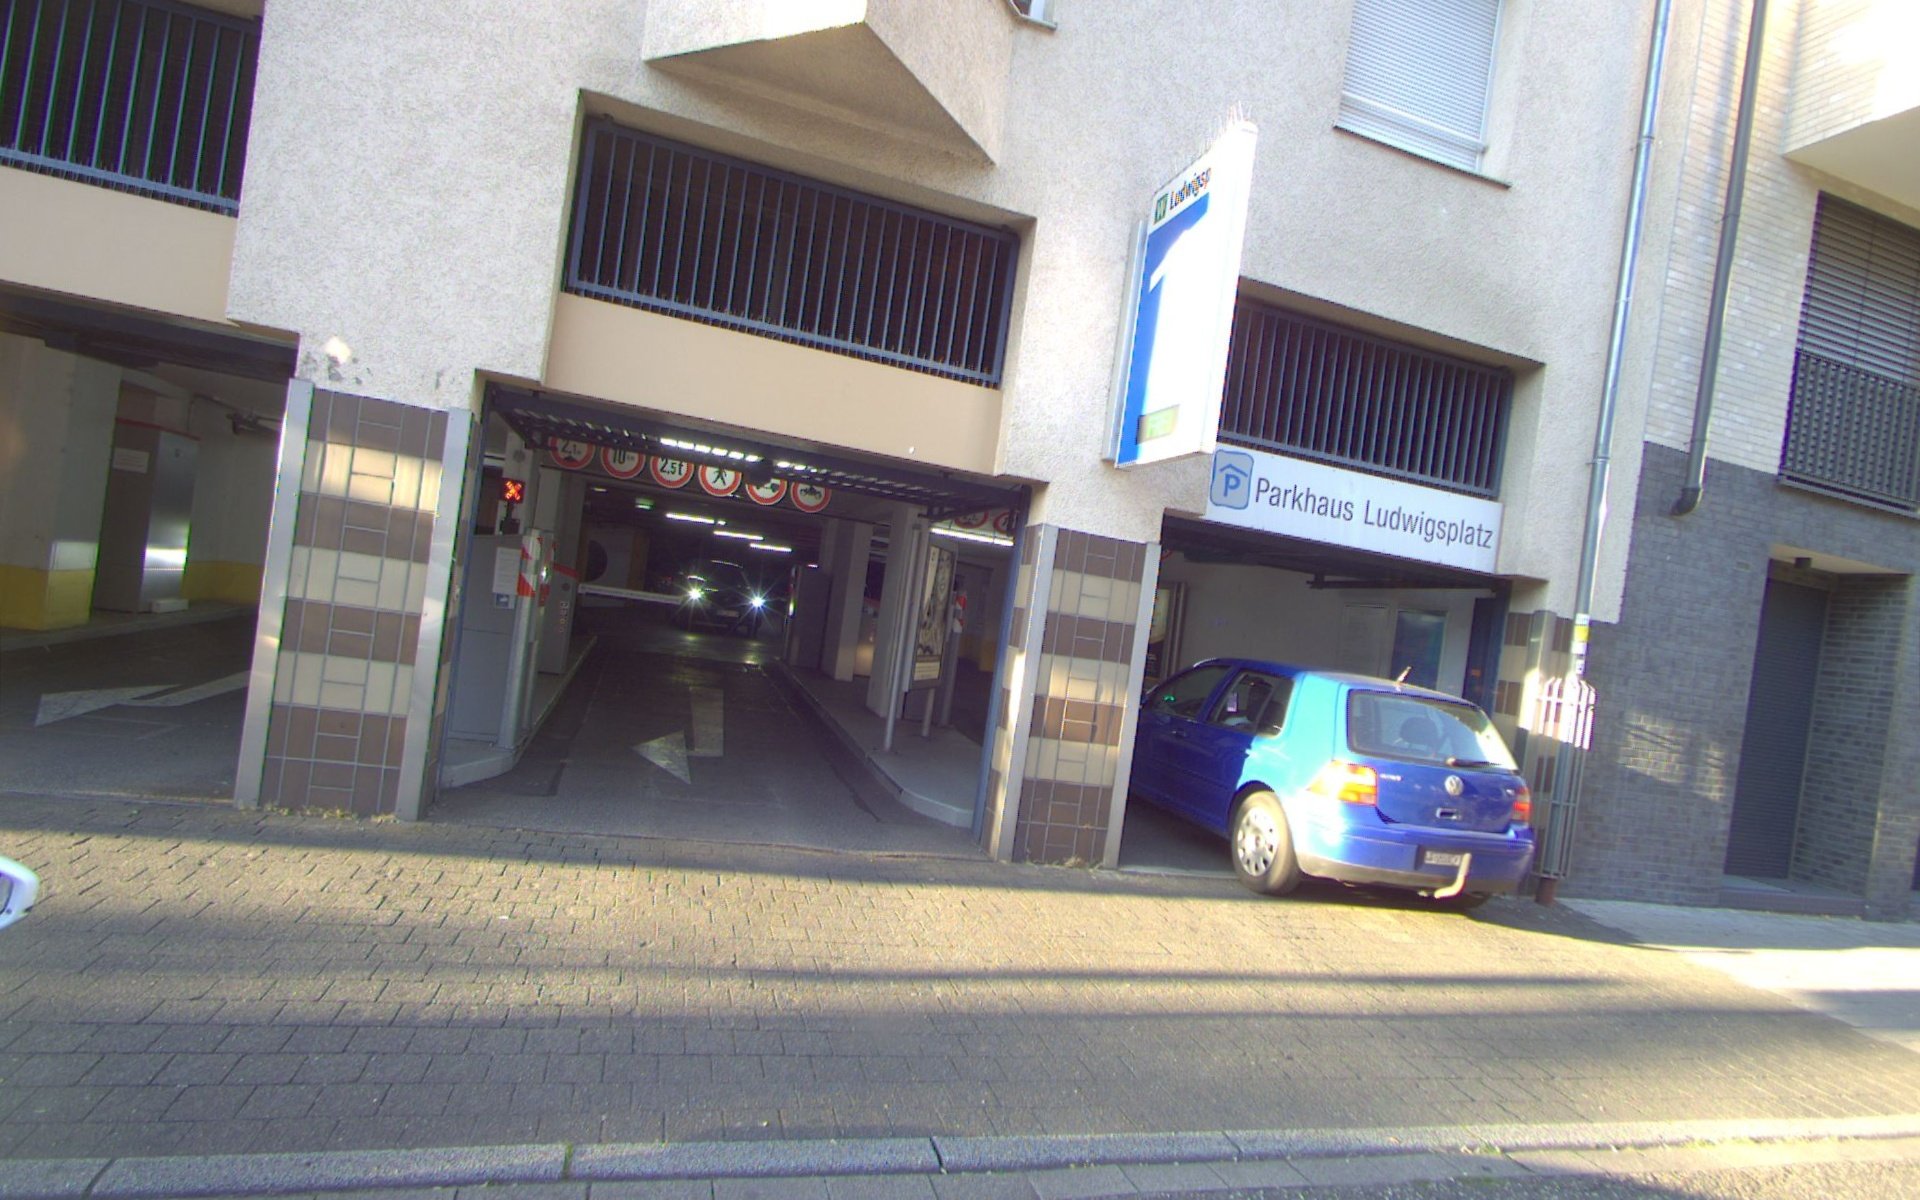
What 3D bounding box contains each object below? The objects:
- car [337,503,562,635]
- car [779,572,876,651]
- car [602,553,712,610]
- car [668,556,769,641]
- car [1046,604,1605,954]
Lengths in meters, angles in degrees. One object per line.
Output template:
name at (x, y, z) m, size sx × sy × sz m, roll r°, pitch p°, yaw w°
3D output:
car at (-7.919, -0.469, 16.096) m, size 1.788 × 1.592 × 4.243 m, roll 8°, pitch 0°, yaw -8°
car at (-3.583, 0.251, 26.557) m, size 1.539 × 1.638 × 3.861 m, roll 8°, pitch 1°, yaw -20°
car at (-10.636, -0.671, 35.218) m, size 3.820 × 1.408 × 1.603 m, roll 9°, pitch 1°, yaw 37°
car at (-5.977, -0.095, 24.539) m, size 1.864 × 1.643 × 4.282 m, roll 8°, pitch 0°, yaw -18°
car at (2.305, 1.075, 7.665) m, size 1.669 × 1.583 × 4.099 m, roll 8°, pitch 1°, yaw -18°
